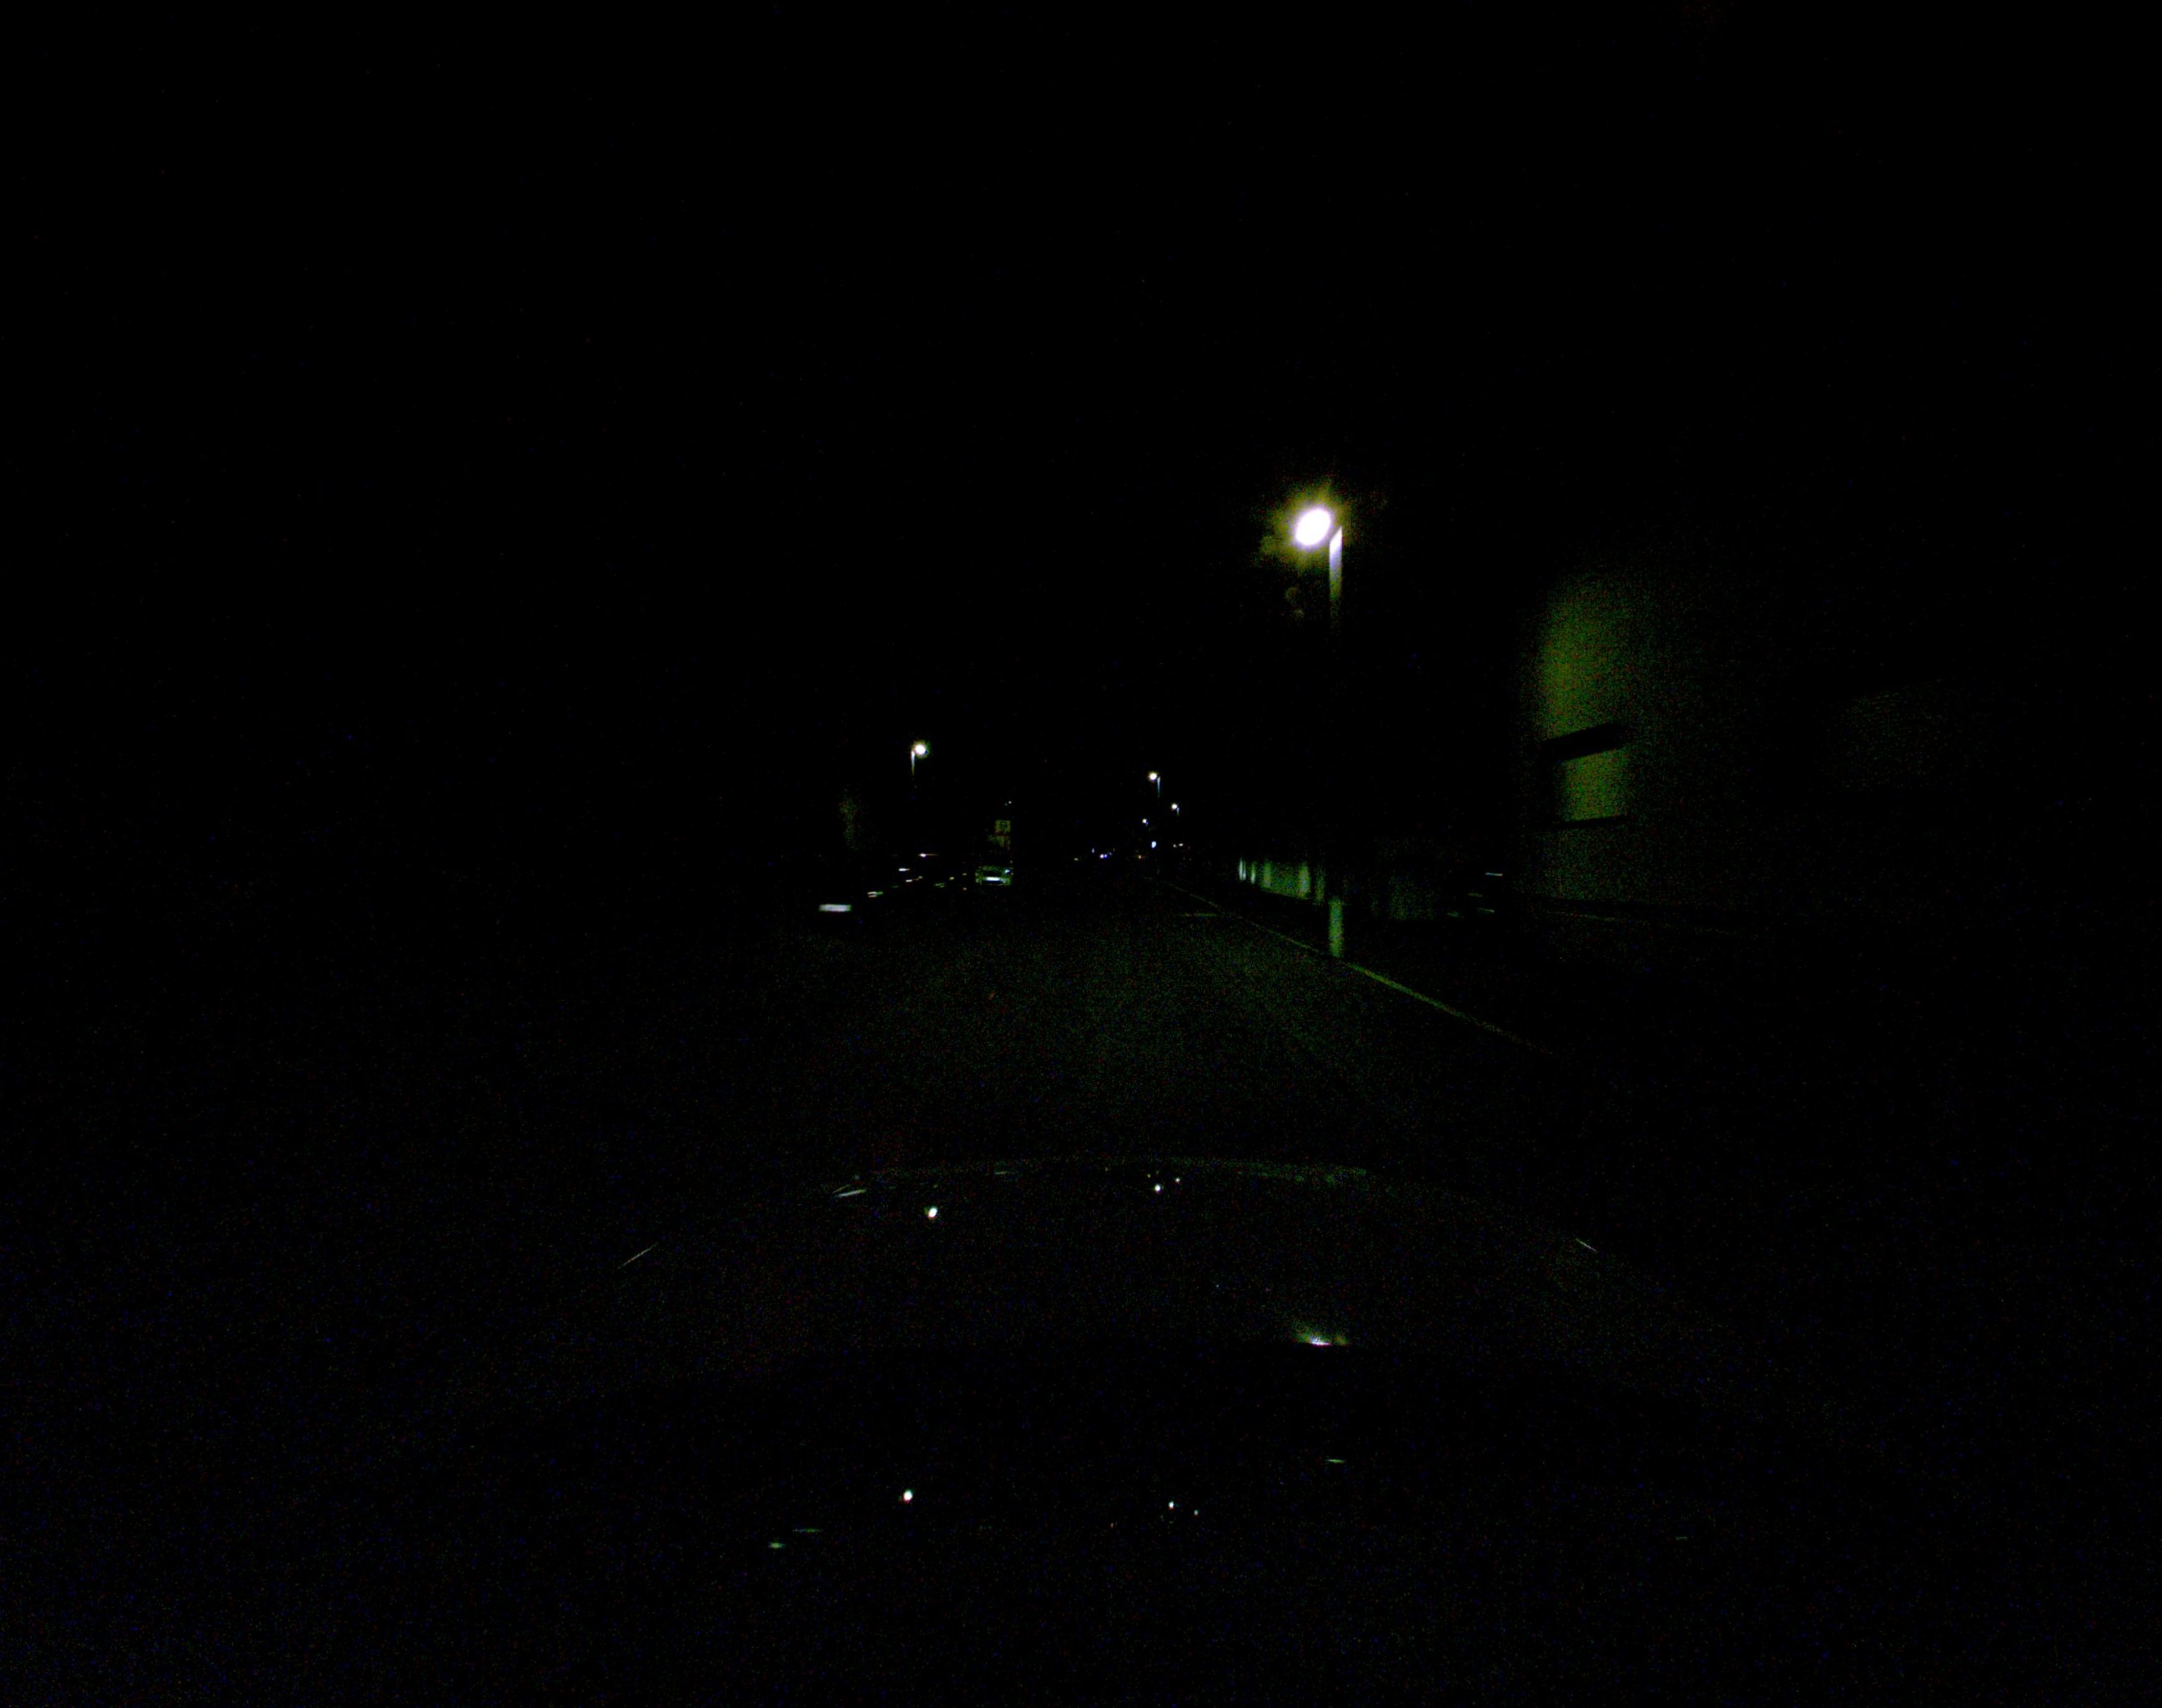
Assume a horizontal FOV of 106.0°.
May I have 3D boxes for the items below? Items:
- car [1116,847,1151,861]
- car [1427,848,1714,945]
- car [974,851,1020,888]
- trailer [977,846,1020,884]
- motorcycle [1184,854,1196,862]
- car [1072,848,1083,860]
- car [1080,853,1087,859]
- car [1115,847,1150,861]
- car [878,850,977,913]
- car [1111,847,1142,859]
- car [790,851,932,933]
[{"bbox_3d":[8.029,-0.061,125.404,5.166,2.013,2.101,-2,0,0],"label":"car"},{"bbox_3d":[7.907,0.657,13.445,3.694,1.473,1.732,0,-1,4],"label":"car"},{"bbox_3d":[-3.694,0.658,36.240,1.666,1.522,2.978,2,0,0],"label":"car"},{"bbox_3d":[-3.940,0.529,39.490,1.441,1.688,3.430,2,0,4],"label":"trailer"},{"bbox_3d":[17.202,0.624,128.172,1.060,1.327,2.722,0,1,25],"label":"motorcycle"},{"bbox_3d":[-0.574,0.030,146.152,1.819,1.986,4.465,2,0,0],"label":"car"},{"bbox_3d":[0.581,0.501,195.189,1.678,1.331,3.599,0,0,0],"label":"car"},{"bbox_3d":[7.679,-0.044,122.343,5.166,2.013,2.101,-2,0,0],"label":"car"},{"bbox_3d":[-4.049,0.684,22.220,1.760,1.519,4.280,1,0,1],"label":"car"},{"bbox_3d":[8.224,-0.167,147.116,5.150,1.887,2.108,-2,0,10],"label":"car"},{"bbox_3d":[-4.443,0.697,17.160,1.681,1.510,4.281,0,0,2],"label":"car"}]
